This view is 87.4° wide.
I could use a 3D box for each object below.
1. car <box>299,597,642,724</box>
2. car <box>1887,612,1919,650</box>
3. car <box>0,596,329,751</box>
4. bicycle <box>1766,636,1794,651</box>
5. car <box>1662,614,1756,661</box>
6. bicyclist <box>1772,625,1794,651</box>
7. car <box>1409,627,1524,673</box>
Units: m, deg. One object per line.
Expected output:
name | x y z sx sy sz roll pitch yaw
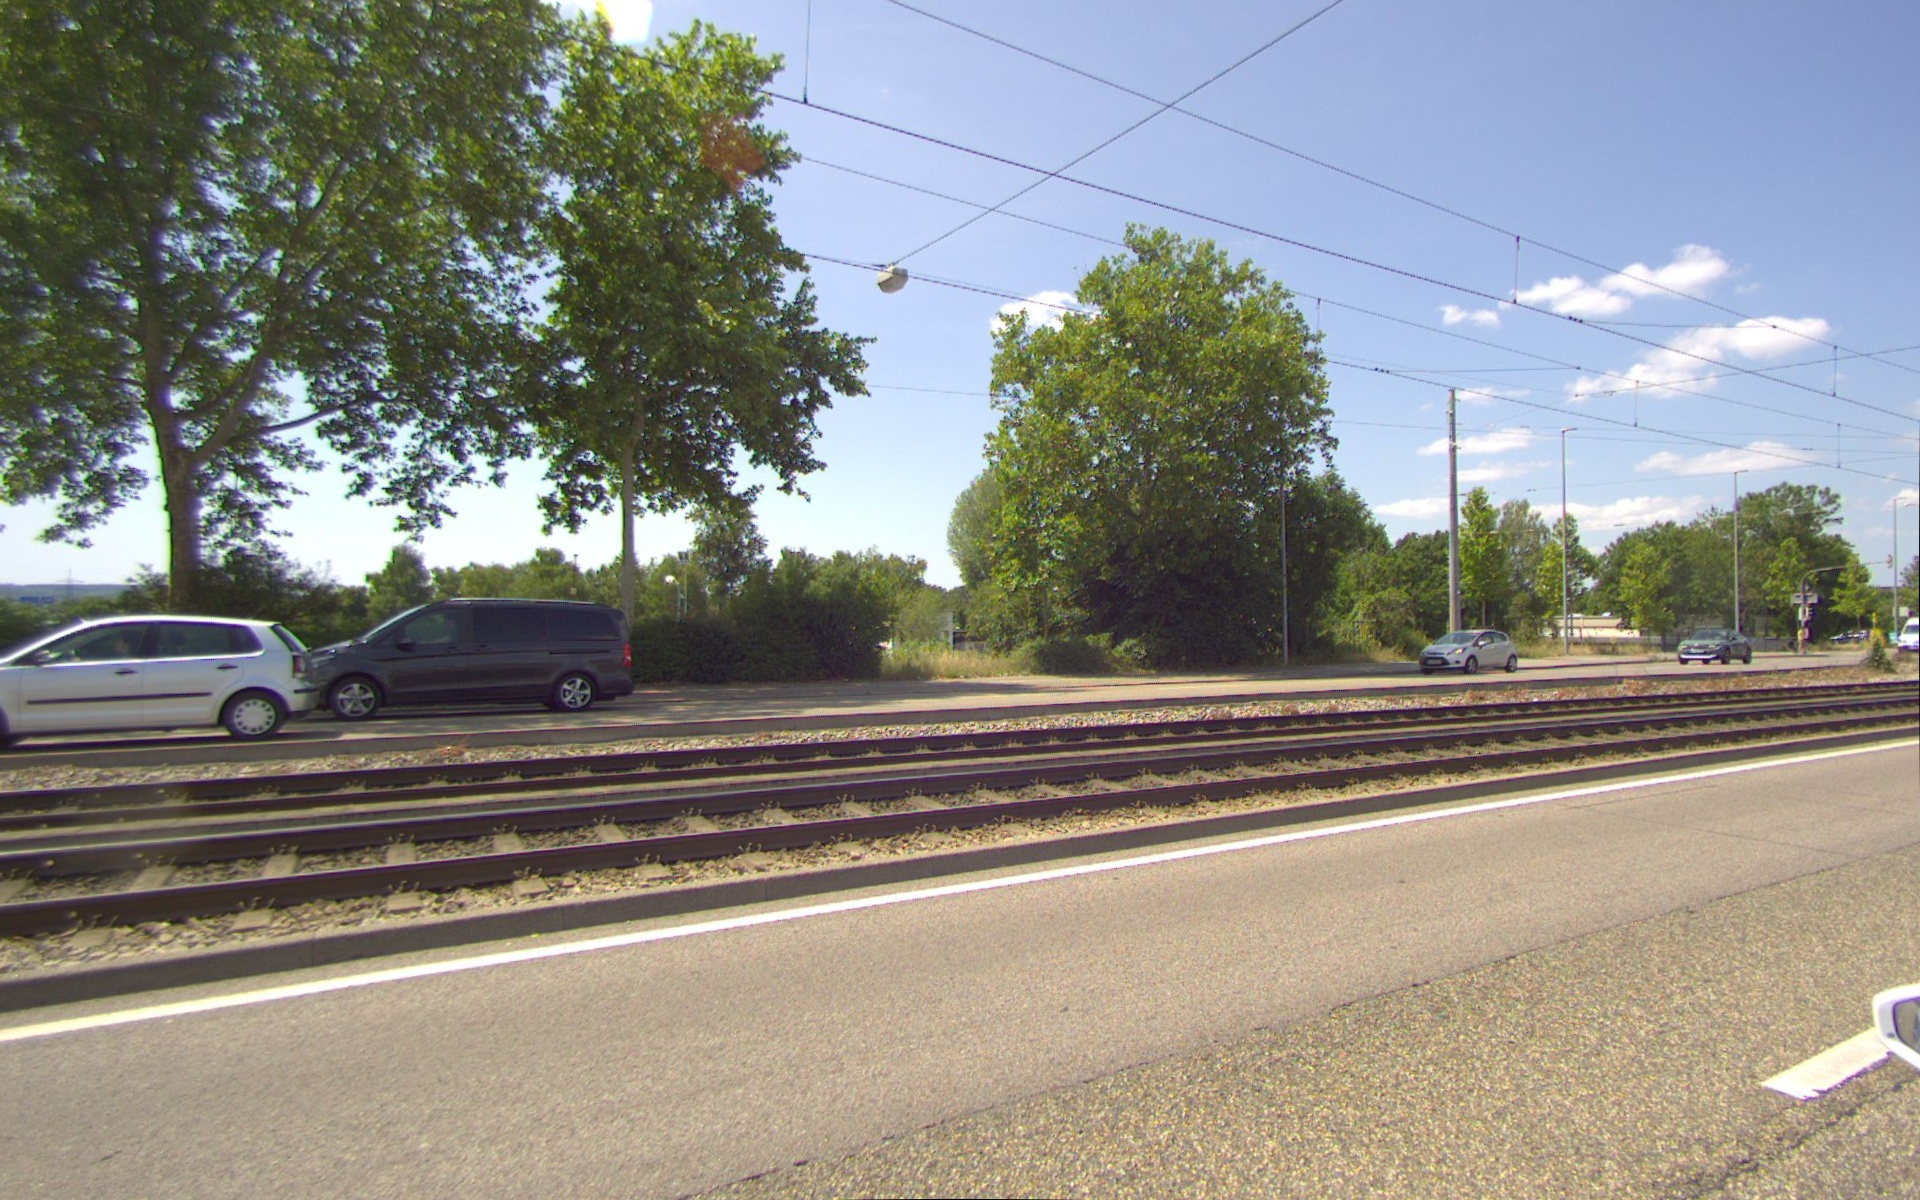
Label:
car | -8.045 0.958 16.788 4.913 1.854 1.983 1 -3 -32
car | 68.021 2.159 70.794 6.164 2.623 2.232 0 -3 -32
car | -9.658 0.818 11.546 4.013 1.604 1.677 1 -3 -32
bicycle | 58.104 3.093 71.199 0.480 1.000 1.482 1 0 -33
car | 33.355 1.621 44.687 4.364 1.944 1.981 1 1 -34
bicyclist | 58.193 2.695 71.044 0.337 1.798 1.112 1 0 -34
car | 16.914 1.650 33.524 3.845 1.434 1.811 1 -3 -35
